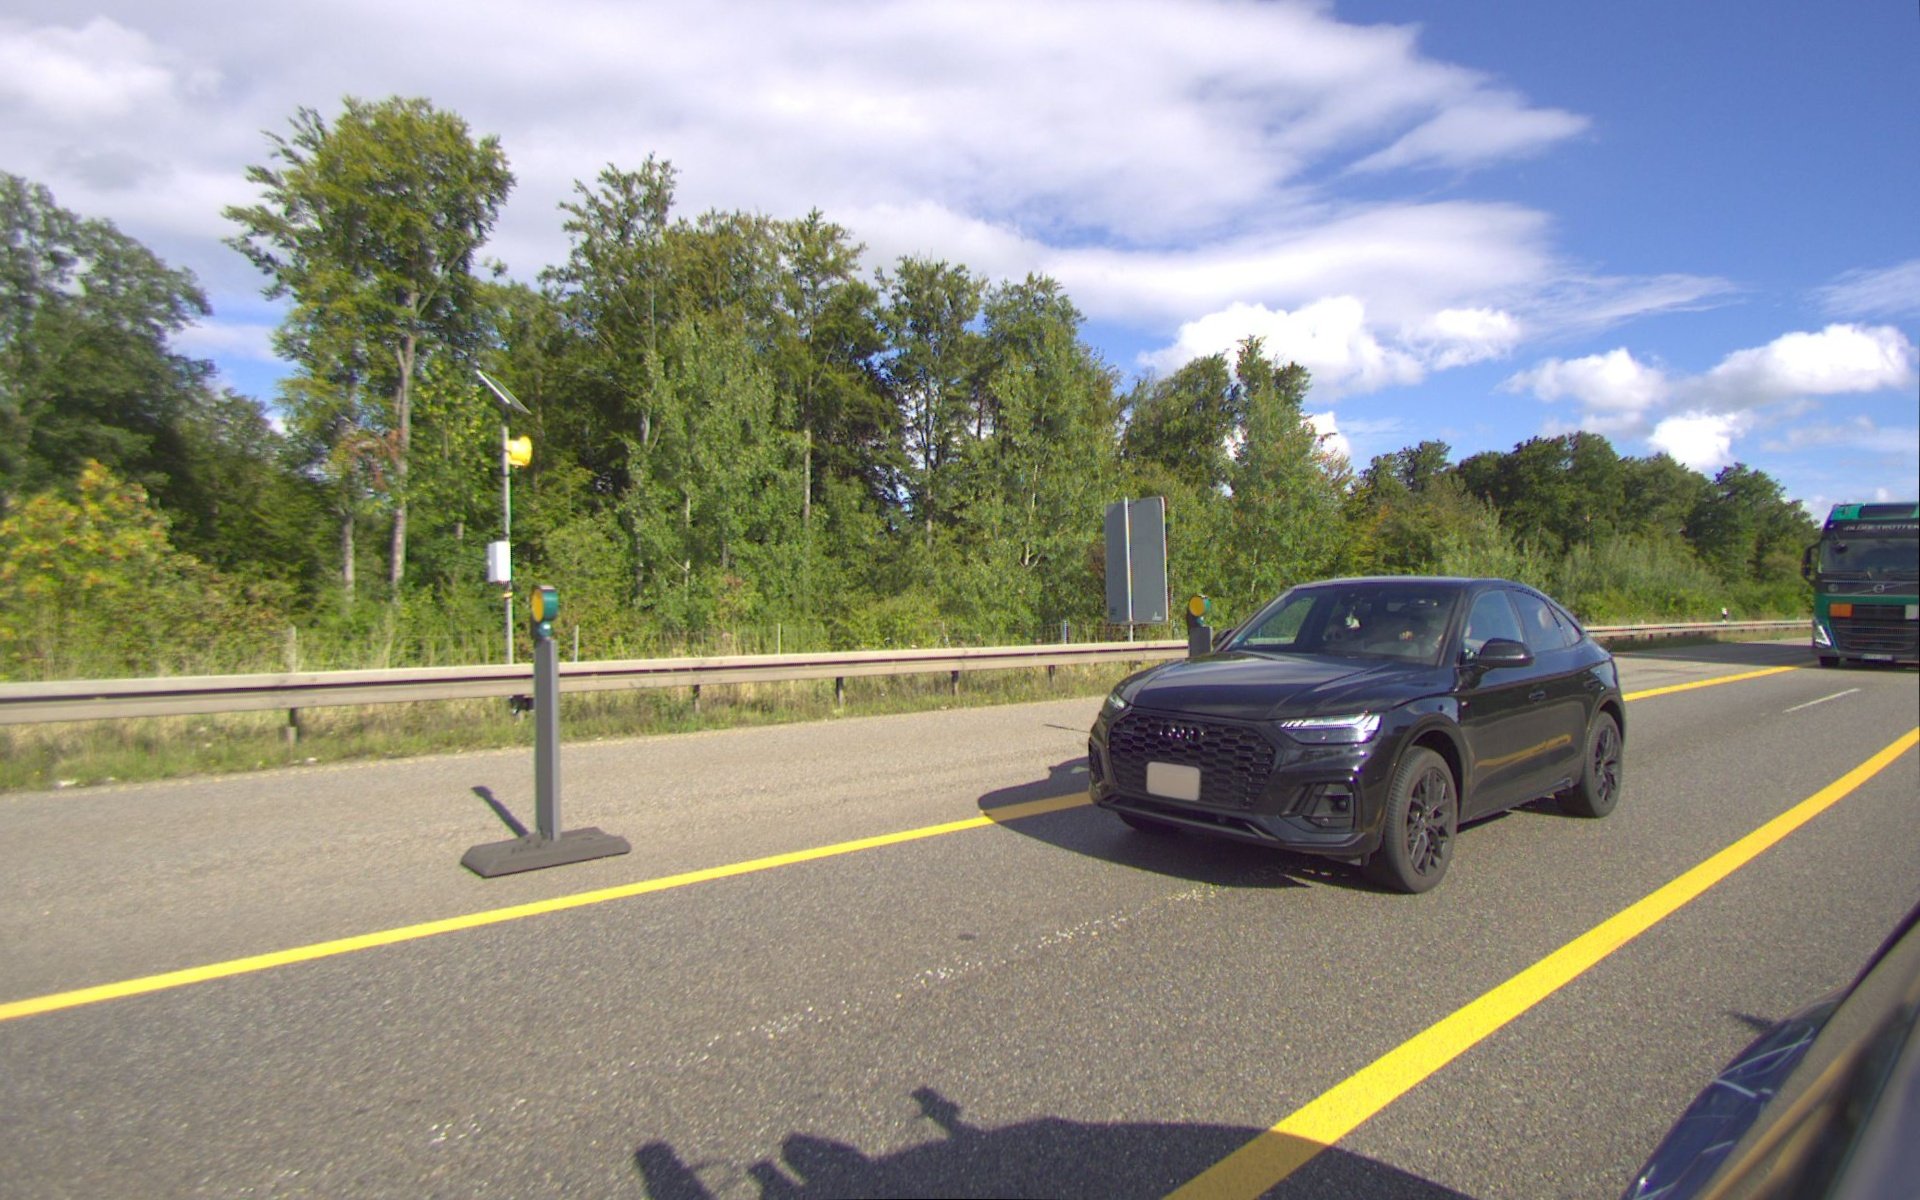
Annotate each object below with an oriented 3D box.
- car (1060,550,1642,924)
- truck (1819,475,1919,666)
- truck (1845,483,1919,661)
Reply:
[{"bbox_3d":[2.717,0.583,6.490,4.220,1.623,1.780,0,0,-42],"label":"car"},{"bbox_3d":[23.154,-0.661,24.425,6.733,4.151,2.527,0,0,-39],"label":"truck"},{"bbox_3d":[27.944,-0.587,28.388,13.954,4.196,2.469,1,-1,-39],"label":"truck"}]
